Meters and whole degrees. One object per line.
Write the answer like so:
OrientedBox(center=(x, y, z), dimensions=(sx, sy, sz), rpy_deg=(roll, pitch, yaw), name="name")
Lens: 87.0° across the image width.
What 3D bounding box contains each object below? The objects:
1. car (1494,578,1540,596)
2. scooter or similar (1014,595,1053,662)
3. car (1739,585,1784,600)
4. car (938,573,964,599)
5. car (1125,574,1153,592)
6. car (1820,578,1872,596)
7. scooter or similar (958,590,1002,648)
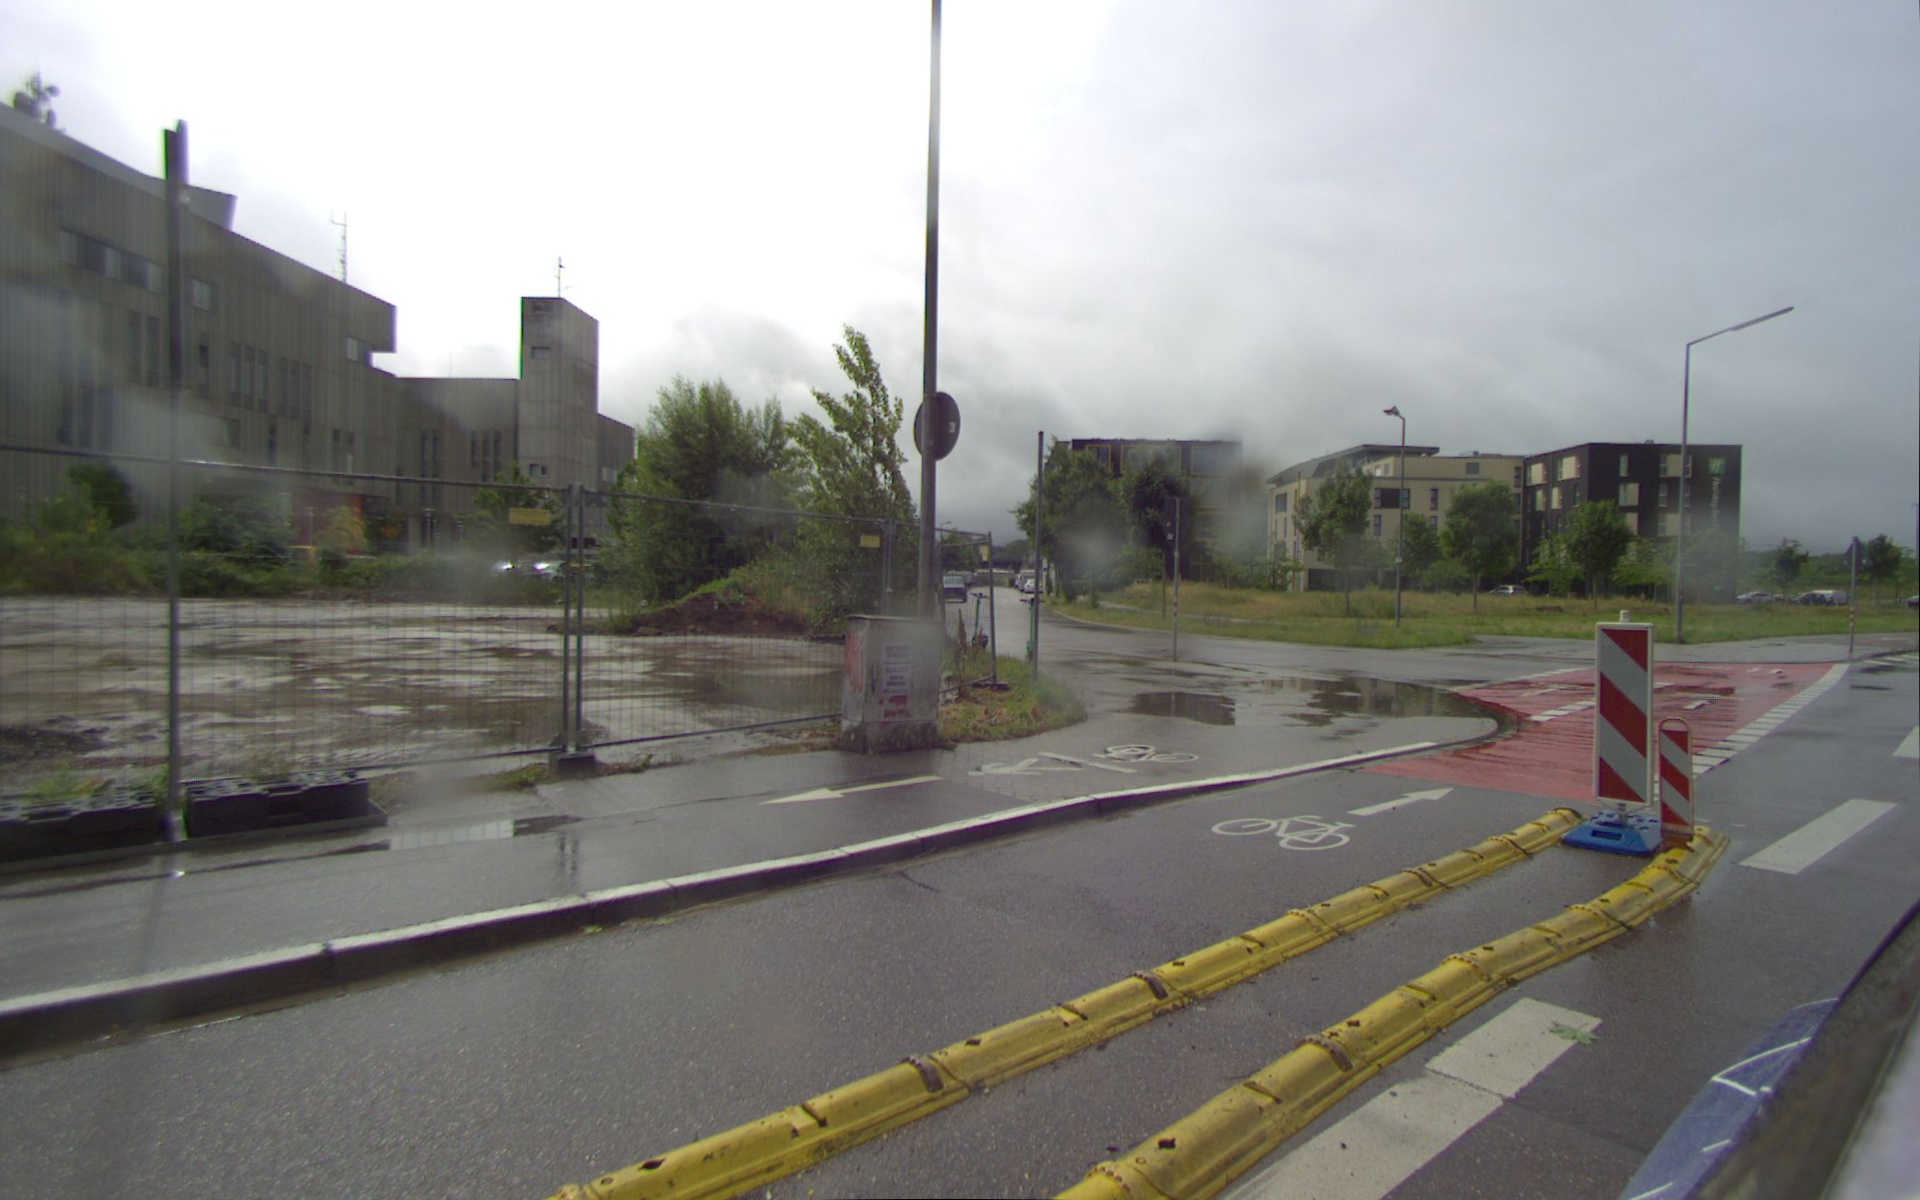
OrientedBox(center=(51.174, -1.223, 93.057), dimensions=(3.591, 1.602, 1.652), rpy_deg=(0, 1, -17), name="car")
OrientedBox(center=(1.346, 0.506, 18.717), dimensions=(0.473, 1.164, 1.197), rpy_deg=(1, 1, -7), name="scooter or similar")
OrientedBox(center=(89.930, -0.822, 113.546), dimensions=(3.590, 1.631, 1.596), rpy_deg=(1, 1, 10), name="car")
OrientedBox(center=(-0.548, -0.905, 64.595), dimensions=(1.570, 1.631, 3.599), rpy_deg=(1, 1, 1), name="car")
OrientedBox(center=(16.835, -1.590, 95.267), dimensions=(1.615, 1.602, 3.673), rpy_deg=(0, 1, -6), name="car")
OrientedBox(center=(100.493, -1.489, 114.771), dimensions=(3.930, 2.039, 1.997), rpy_deg=(1, 1, 6), name="car")
OrientedBox(center=(0.413, 0.396, 21.430), dimensions=(0.732, 1.164, 1.197), rpy_deg=(1, 1, -7), name="scooter or similar")
